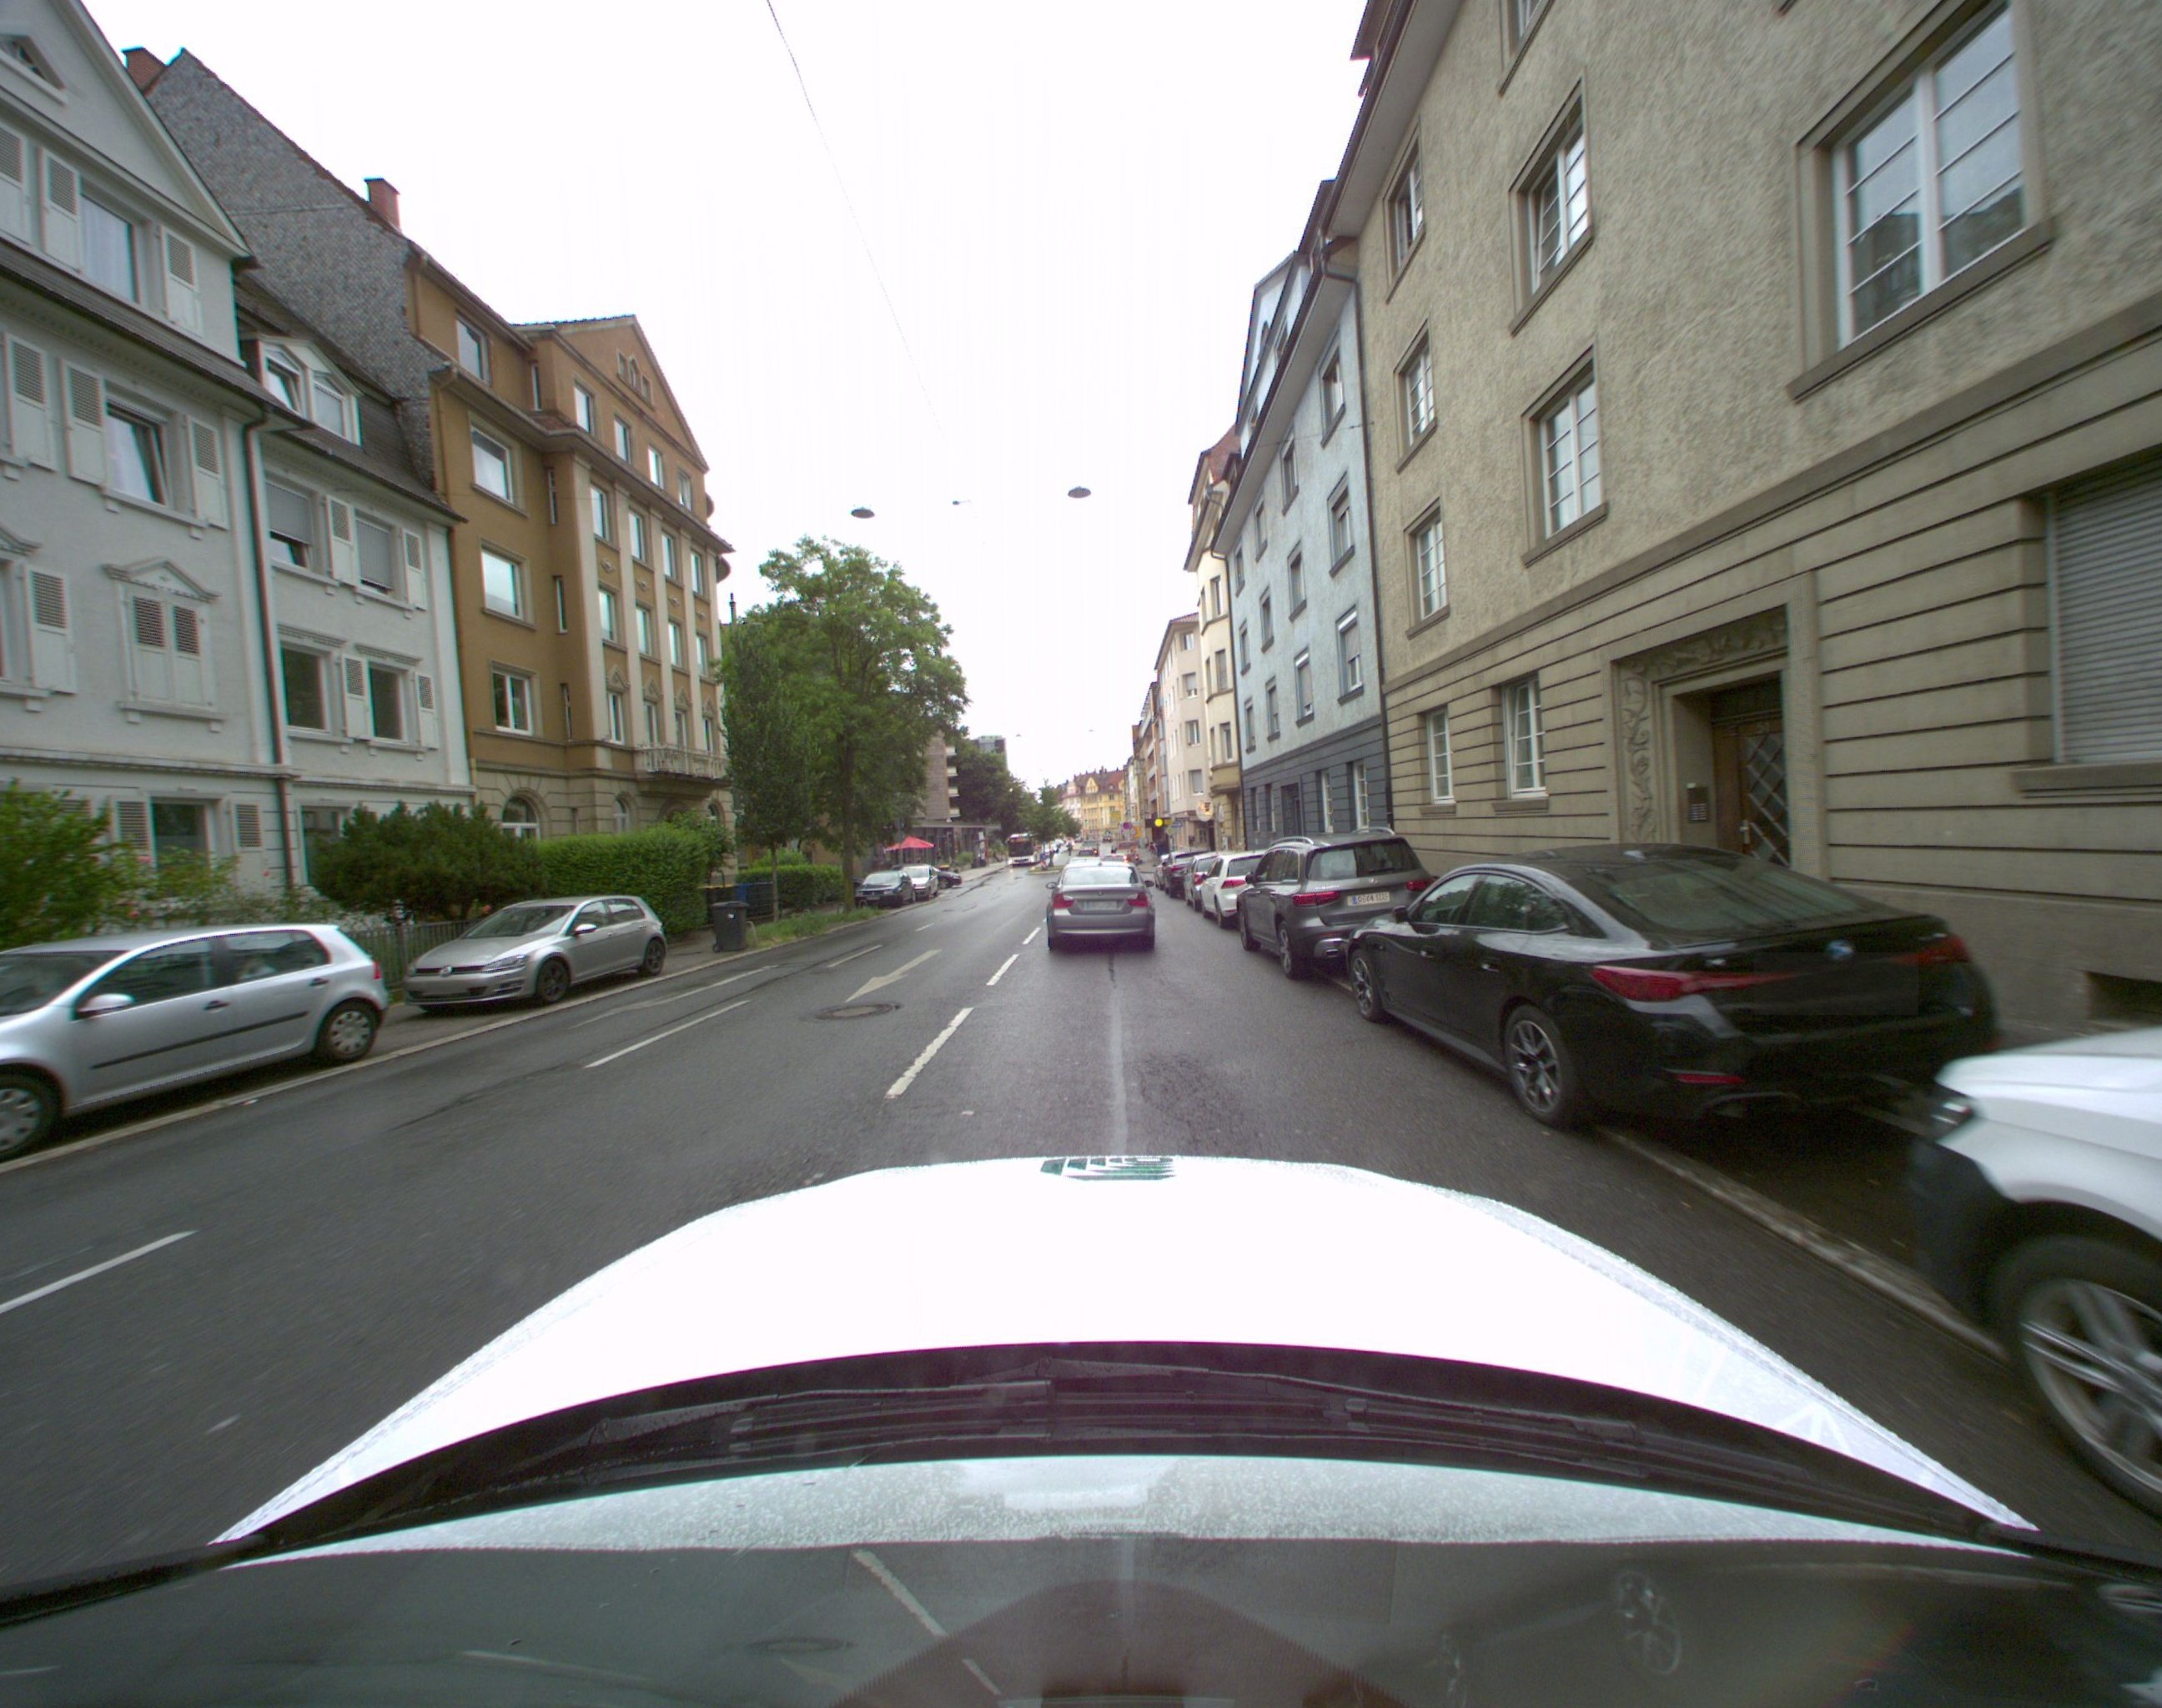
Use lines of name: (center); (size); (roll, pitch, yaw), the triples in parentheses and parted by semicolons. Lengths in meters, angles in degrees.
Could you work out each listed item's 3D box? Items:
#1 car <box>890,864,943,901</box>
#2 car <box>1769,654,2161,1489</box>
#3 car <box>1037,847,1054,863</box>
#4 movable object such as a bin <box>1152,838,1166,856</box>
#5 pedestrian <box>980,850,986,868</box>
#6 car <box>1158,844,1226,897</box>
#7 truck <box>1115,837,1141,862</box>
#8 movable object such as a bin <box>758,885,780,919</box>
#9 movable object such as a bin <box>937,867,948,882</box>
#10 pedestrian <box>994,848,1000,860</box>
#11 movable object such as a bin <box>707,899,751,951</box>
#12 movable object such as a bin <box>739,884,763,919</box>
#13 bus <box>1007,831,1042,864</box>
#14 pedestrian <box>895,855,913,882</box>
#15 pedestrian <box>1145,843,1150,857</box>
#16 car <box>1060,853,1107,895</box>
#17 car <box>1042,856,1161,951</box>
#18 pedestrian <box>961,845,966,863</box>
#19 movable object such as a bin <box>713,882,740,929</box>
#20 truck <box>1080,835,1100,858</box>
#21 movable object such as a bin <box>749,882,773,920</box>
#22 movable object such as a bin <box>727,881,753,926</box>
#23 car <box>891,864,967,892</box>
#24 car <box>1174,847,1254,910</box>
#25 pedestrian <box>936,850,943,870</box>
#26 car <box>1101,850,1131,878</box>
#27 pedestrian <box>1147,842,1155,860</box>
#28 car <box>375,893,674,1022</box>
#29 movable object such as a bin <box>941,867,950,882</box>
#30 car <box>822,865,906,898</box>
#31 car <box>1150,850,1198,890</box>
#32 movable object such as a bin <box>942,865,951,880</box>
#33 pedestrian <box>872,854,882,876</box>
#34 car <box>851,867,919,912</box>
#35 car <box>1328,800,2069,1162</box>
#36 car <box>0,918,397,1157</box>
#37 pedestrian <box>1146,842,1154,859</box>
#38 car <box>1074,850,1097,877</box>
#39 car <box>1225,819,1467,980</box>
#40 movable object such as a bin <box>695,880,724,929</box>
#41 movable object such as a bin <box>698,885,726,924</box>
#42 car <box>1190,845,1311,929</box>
car: (-7.275, 1.228, 36.334); (1.628, 1.454, 3.836); (-3, 0, -2)
car: (3.165, 0.420, 0.612); (1.784, 1.817, 4.081); (-5, 0, 1)
car: (-4.655, 0.097, 105.856); (1.987, 2.014, 4.000); (-1, -1, 0)
movable object such as a bin: (7.583, -0.679, 79.008); (1.119, 1.702, 1.433); (-4, -1, -1)
pedestrian: (-9.616, 0.467, 79.690); (0.542, 1.709, 0.465); (0, -1, -5)
car: (3.817, 0.541, 28.658); (1.811, 1.557, 4.295); (-5, 0, 2)
truck: (4.174, -0.381, 72.100); (2.205, 2.117, 4.657); (0, 0, 4)
movable object such as a bin: (-10.323, 1.577, 26.946); (0.438, 1.081, 0.590); (-4, 0, 0)
movable object such as a bin: (-10.178, 1.481, 59.757); (0.551, 1.081, 0.731); (-4, -1, 2)
pedestrian: (-9.883, -0.001, 95.629); (0.617, 1.378, 0.545); (-1, -1, 2)
movable object such as a bin: (-7.636, 1.536, 17.689); (0.627, 1.058, 0.600); (-4, -1, 1)
movable object such as a bin: (-10.352, 1.474, 25.551); (0.425, 1.040, 0.650); (-4, 0, 0)
bus: (-5.823, -0.541, 85.497); (2.672, 3.201, 11.955); (-1, -1, 0)
pedestrian: (-11.864, 0.949, 54.557); (1.062, 1.731, 0.712); (-3, 1, -9)
pedestrian: (8.190, -0.515, 100.098); (0.611, 1.661, 0.756); (-1, -1, 7)
car: (0.072, 0.718, 29.472); (1.597, 1.420, 3.286); (-1, -1, -1)
car: (0.350, 0.766, 13.844); (1.749, 1.362, 3.165); (-2, -1, 1)
pedestrian: (-11.974, -0.033, 82.869); (0.542, 1.790, 0.507); (0, -1, -8)
movable object such as a bin: (-10.403, 1.512, 23.923); (0.438, 1.308, 0.650); (-4, 0, 0)
truck: (1.050, -0.876, 96.037); (2.209, 2.544, 4.779); (-1, -1, 0)
movable object such as a bin: (-10.302, 1.509, 26.256); (0.438, 1.130, 0.657); (-4, 0, 0)
movable object such as a bin: (-10.383, 1.497, 24.806); (0.438, 1.308, 0.609); (-4, 0, 0)
car: (-8.403, 1.340, 45.257); (3.803, 1.390, 1.742); (-2, -1, 0)
car: (3.591, 0.612, 22.509); (1.577, 1.429, 3.596); (-6, 0, 1)
pedestrian: (-12.698, 0.505, 73.024); (0.462, 1.790, 0.546); (-1, -1, 9)
car: (1.799, 0.508, 41.134); (1.430, 1.356, 3.764); (-1, -1, 3)
pedestrian: (6.663, -0.256, 77.273); (0.747, 1.661, 0.755); (-1, -1, 3)
car: (-8.093, 1.418, 12.370); (1.676, 1.390, 3.938); (-2, 0, 2)
movable object such as a bin: (-10.104, 1.498, 60.721); (0.488, 1.081, 0.606); (-4, -1, 2)
car: (-11.255, 1.435, 42.422); (3.799, 1.389, 1.745); (-4, 1, 3)
car: (3.869, 0.621, 34.264); (1.563, 1.464, 4.091); (-5, 0, 2)
movable object such as a bin: (-10.154, 1.382, 61.696); (0.488, 1.081, 0.606); (-4, -1, 2)
pedestrian: (-16.921, 0.902, 67.578); (0.636, 1.816, 0.633); (-4, 1, -23)
car: (-7.564, 1.330, 31.795); (1.648, 1.454, 3.941); (-3, 0, 0)
car: (3.379, 0.558, 5.766); (1.835, 1.409, 4.387); (-6, 0, 0)
car: (-8.198, 1.412, 6.708); (1.676, 1.390, 3.911); (-2, 0, 2)
pedestrian: (6.955, -0.376, 81.586); (0.745, 1.661, 0.838); (-1, -1, 7)
car: (0.337, 0.767, 64.950); (1.700, 2.014, 3.998); (-1, -1, -1)
car: (3.293, 0.517, 11.091); (1.835, 1.621, 4.208); (-5, 0, 0)
movable object such as a bin: (-10.399, 1.414, 22.812); (0.438, 1.299, 0.650); (-4, 0, 0)
movable object such as a bin: (-10.433, 1.415, 23.038); (0.438, 1.039, 0.650); (-4, 0, 0)
car: (3.513, 0.624, 17.604); (1.723, 1.429, 3.974); (-6, 0, 1)
